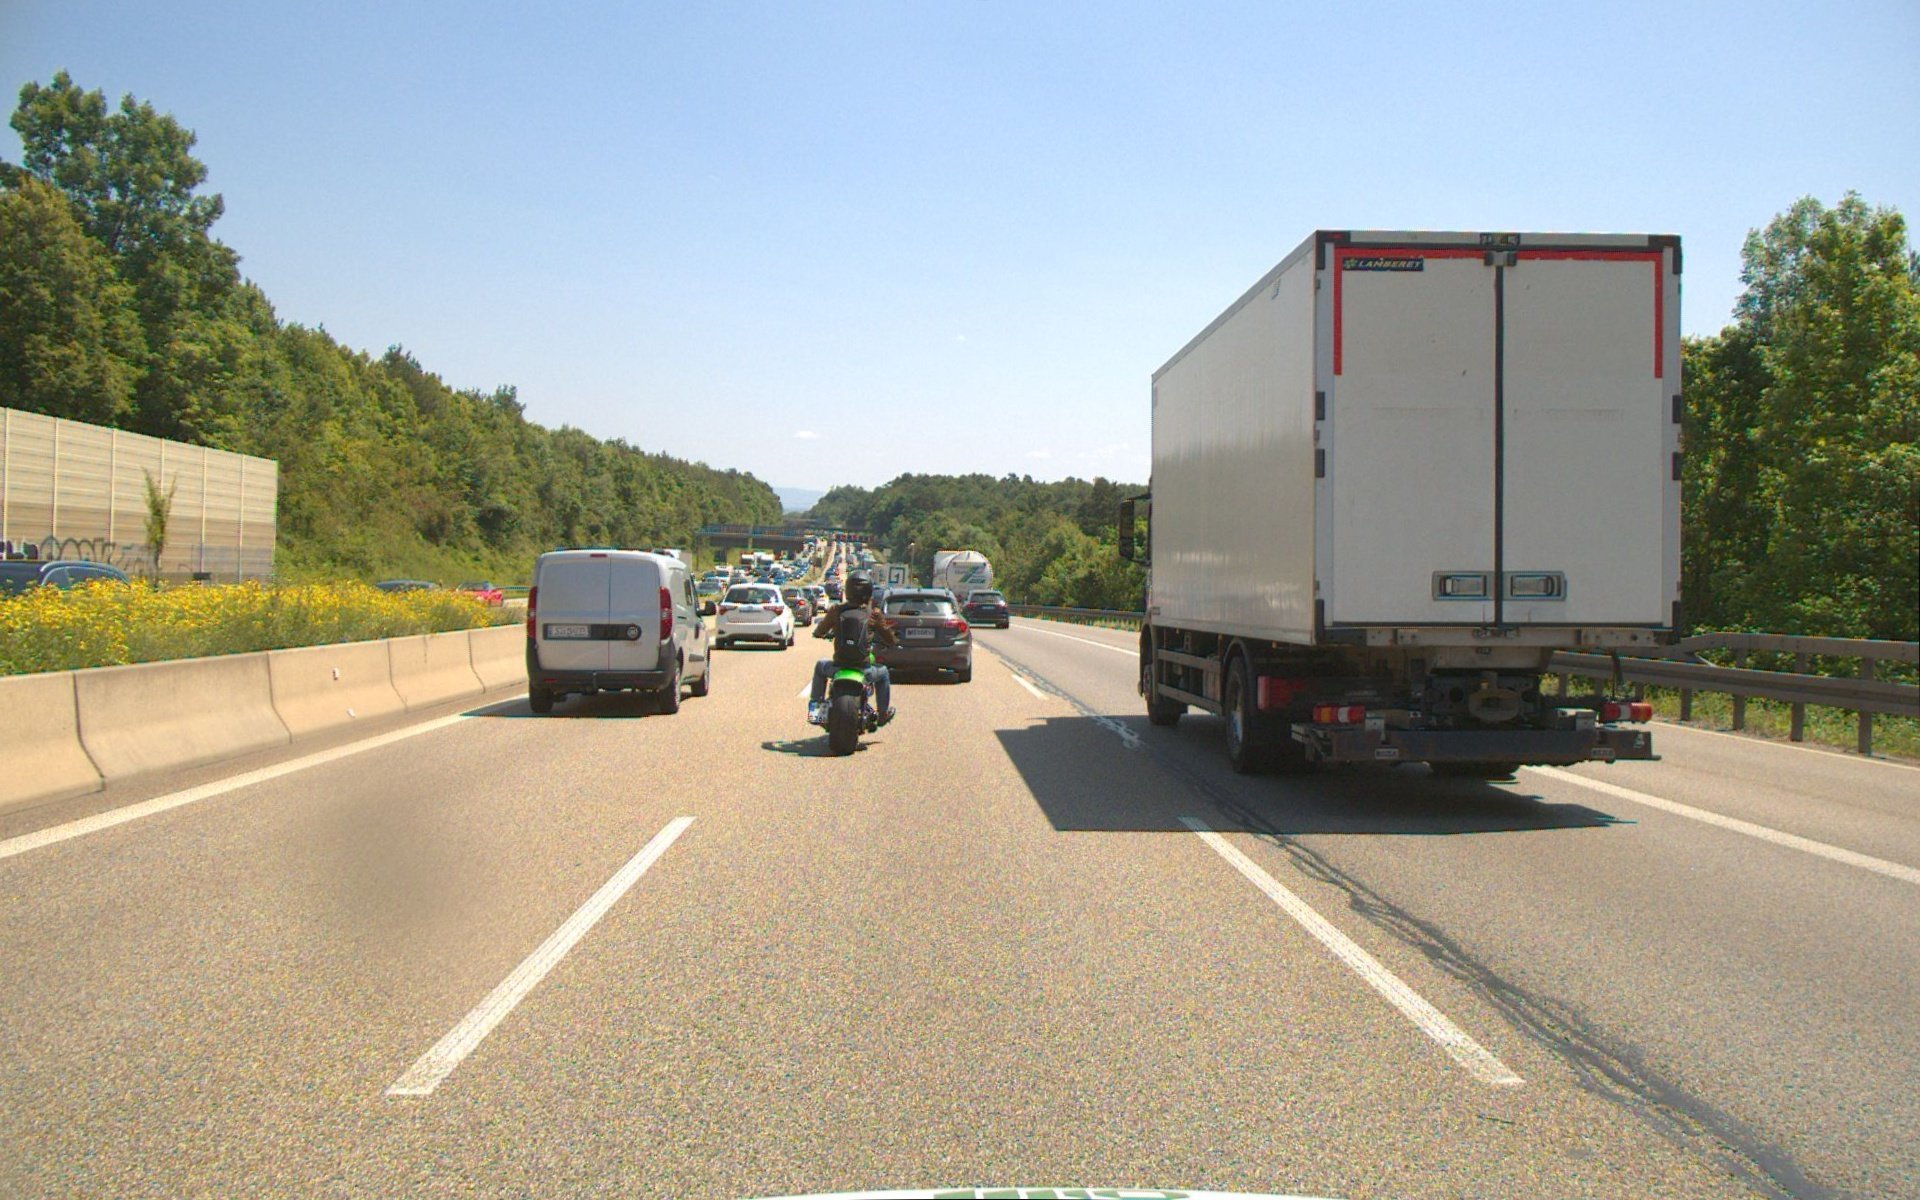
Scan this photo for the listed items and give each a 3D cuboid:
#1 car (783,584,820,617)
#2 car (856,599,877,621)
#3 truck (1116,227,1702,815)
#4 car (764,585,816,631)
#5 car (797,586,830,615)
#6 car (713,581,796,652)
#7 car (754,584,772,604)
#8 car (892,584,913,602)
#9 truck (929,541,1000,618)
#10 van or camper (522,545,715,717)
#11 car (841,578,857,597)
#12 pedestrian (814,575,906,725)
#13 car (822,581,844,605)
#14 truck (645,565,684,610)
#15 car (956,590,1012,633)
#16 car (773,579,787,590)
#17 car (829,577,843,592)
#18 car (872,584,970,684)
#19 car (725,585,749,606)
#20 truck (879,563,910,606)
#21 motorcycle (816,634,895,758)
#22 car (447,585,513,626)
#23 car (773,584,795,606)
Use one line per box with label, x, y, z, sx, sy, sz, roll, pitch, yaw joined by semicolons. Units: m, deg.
car;-7.823;-0.010;81.963;1.666;1.504;3.997;3;1;-4
car;-6.630;0.684;117.509;1.364;1.489;2.778;1;0;-2
truck;3.502;-0.548;16.028;2.634;3.944;9.775;0;0;-2
car;-6.169;0.268;60.220;1.666;1.504;3.997;3;1;-4
car;-8.215;0.010;92.855;1.666;1.504;3.997;3;1;-4
car;-4.832;0.359;39.238;1.666;1.504;3.997;3;1;-4
car;-21.371;-0.644;179.467;1.729;2.049;3.996;1;0;-5
car;-5.477;-0.681;157.437;1.752;1.582;3.800;3;1;-4
truck;0.130;-0.978;85.436;2.929;3.735;9.279;1;0;-4
van or camper;-4.179;0.360;20.845;1.760;1.925;4.157;1;0;-4
car;-12.834;-1.414;191.181;1.767;2.049;3.995;1;0;-6
pedestrian;-0.960;0.467;15.967;0.832;1.385;0.961;1;0;-3
car;-11.133;-0.622;145.251;1.843;1.892;3.997;3;0;-4
truck;-26.730;-1.105;149.936;2.758;3.976;7.308;1;0;-5
car;0.921;0.424;65.610;1.793;1.496;3.997;4;0;-4
car;-25.924;-2.228;238.507;1.676;1.564;4.127;1;0;-2
car;-18.055;-2.265;240.410;1.891;2.049;3.997;1;0;-4
car;-0.640;0.513;27.869;1.501;1.536;3.999;1;0;-1
car;-18.879;-0.410;140.211;1.650;1.728;4.656;1;0;-3
truck;-7.677;-1.854;192.583;2.974;4.620;9.975;4;0;-4
motorcycle;-0.982;0.877;15.792;0.677;1.033;2.120;1;0;-3
car;-20.626;0.248;71.209;1.704;1.668;4.186;1;0;-2
car;-16.786;-0.467;157.893;1.954;2.049;3.997;1;0;-4
